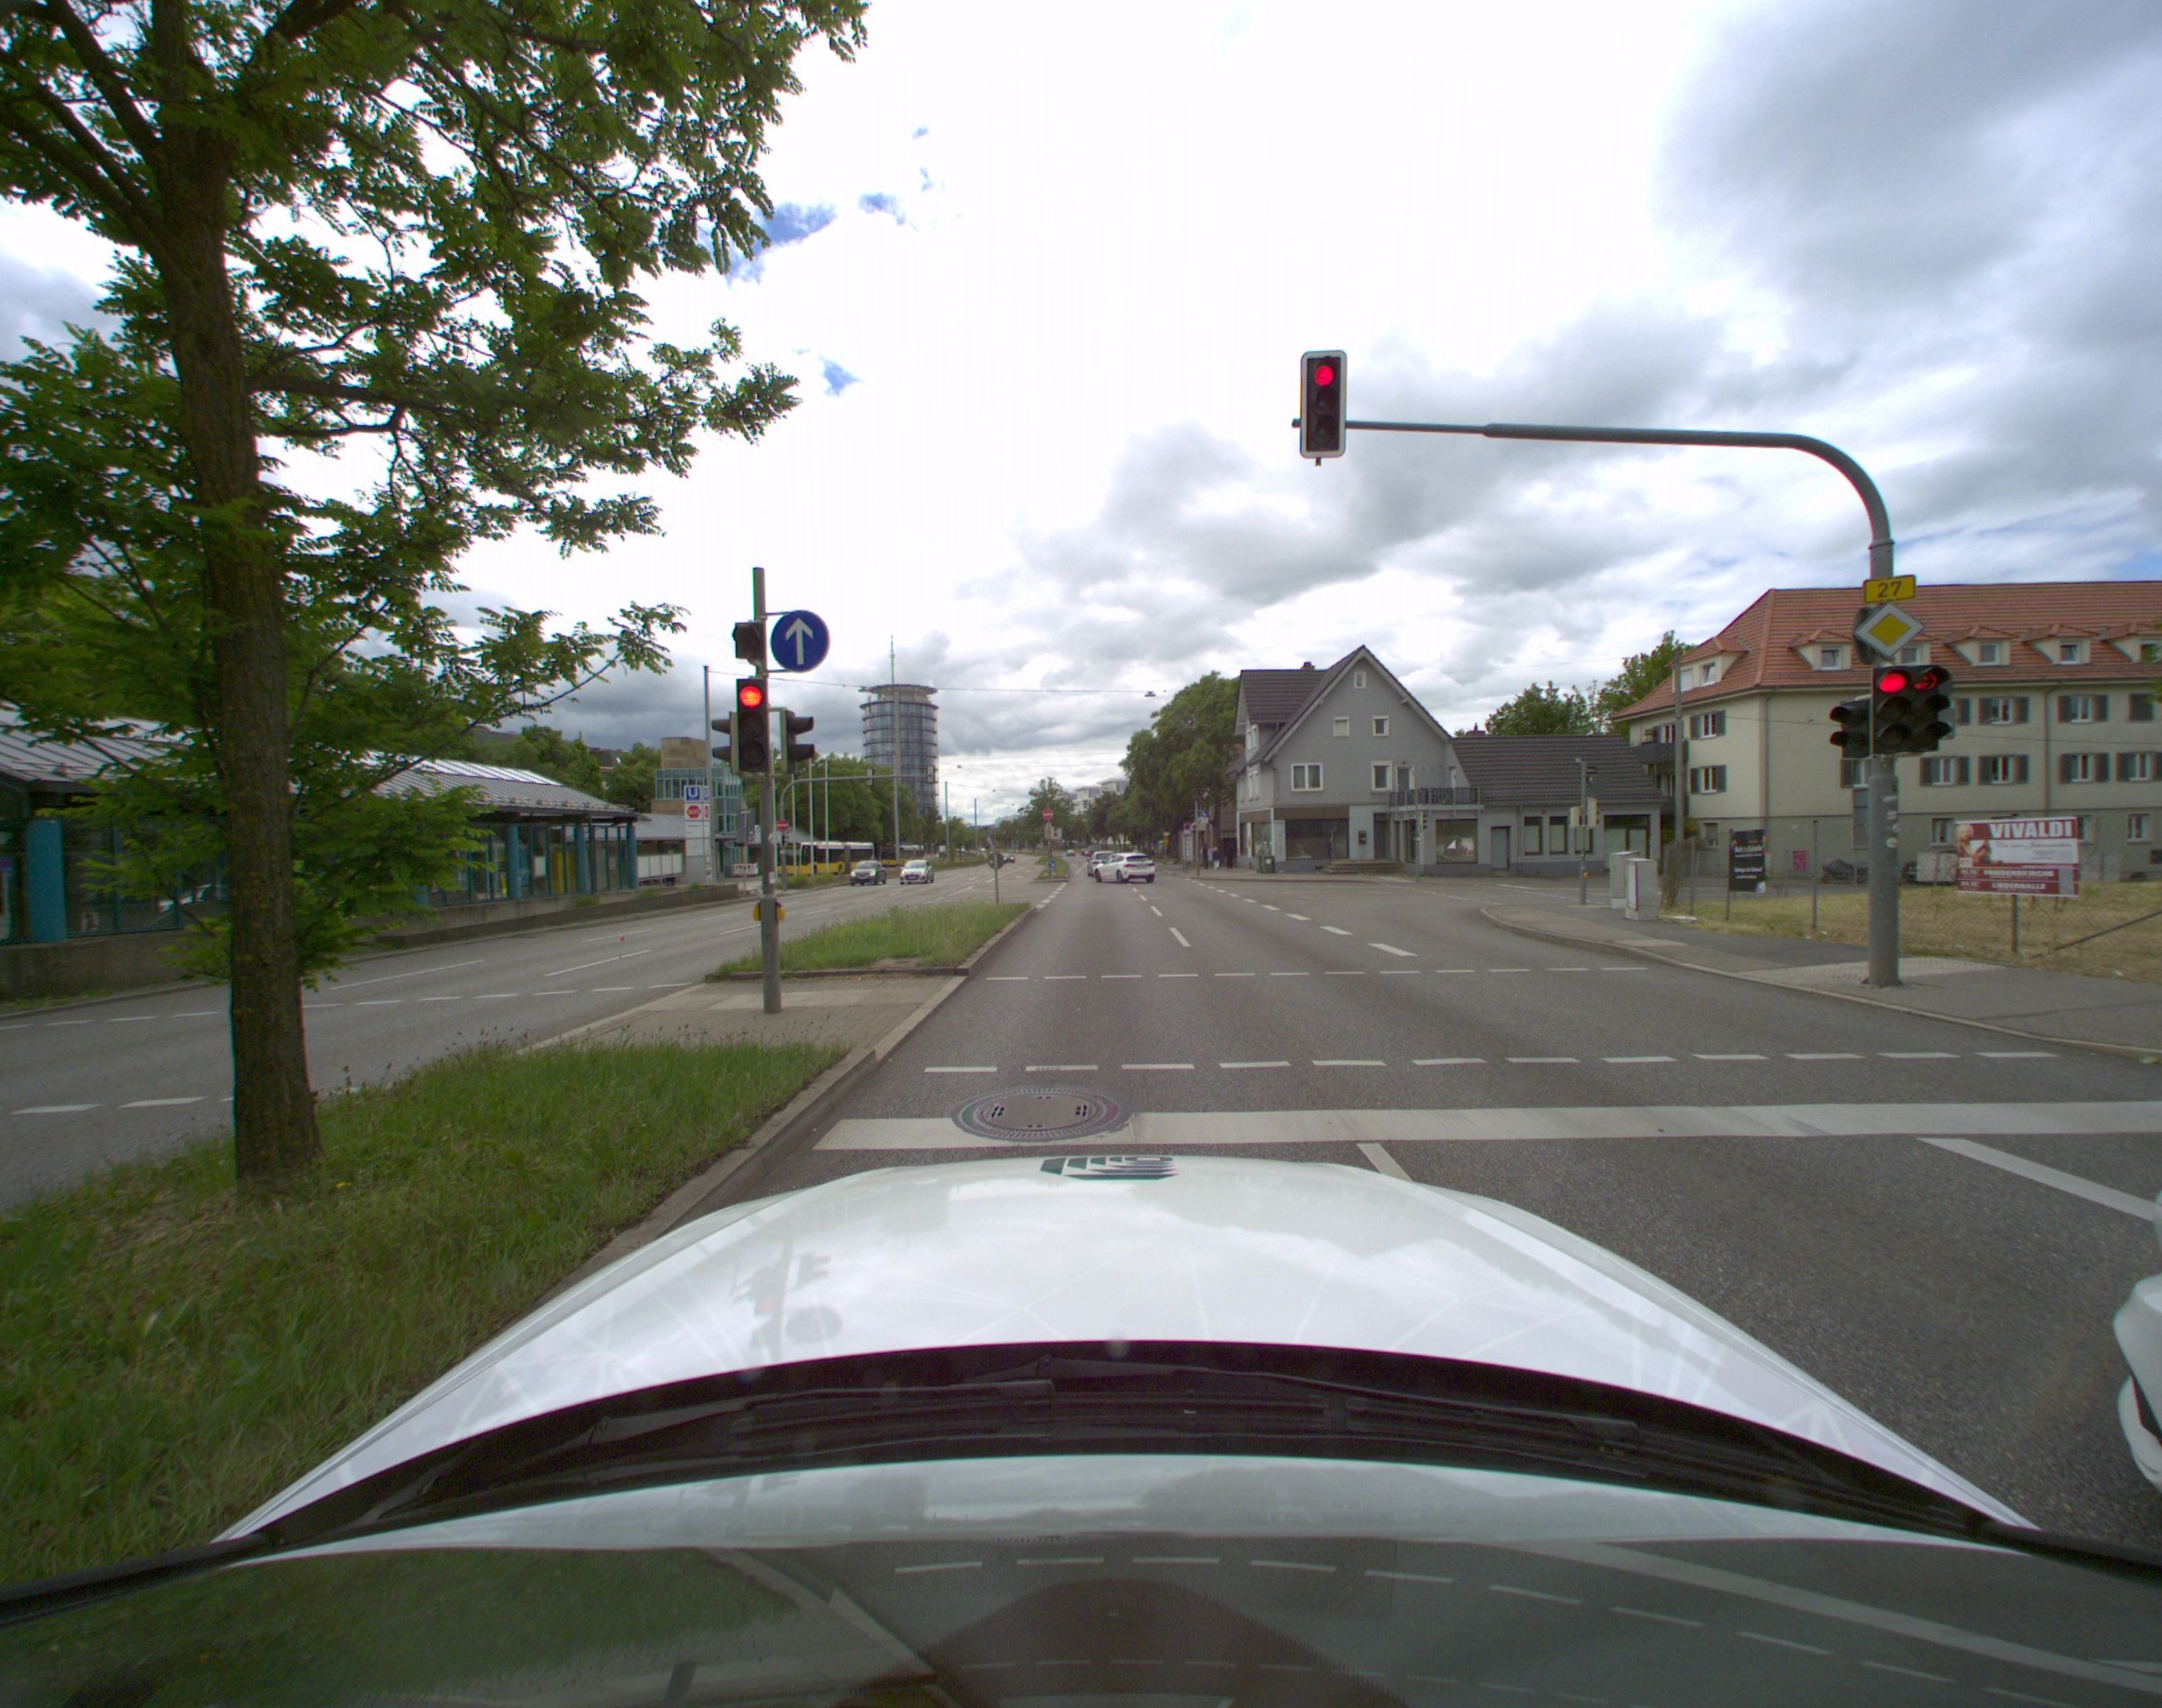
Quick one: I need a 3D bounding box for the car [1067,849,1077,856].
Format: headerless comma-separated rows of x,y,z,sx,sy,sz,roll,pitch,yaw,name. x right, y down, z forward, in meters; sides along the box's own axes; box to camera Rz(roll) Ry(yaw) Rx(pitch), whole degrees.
-1.912,-0.353,173.480,1.963,1.420,4.017,-2,0,-3,car

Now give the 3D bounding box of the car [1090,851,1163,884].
2.201,0.630,40.822,2.002,1.477,4.224,-1,1,-23,car

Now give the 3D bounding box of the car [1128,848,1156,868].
5.024,0.342,67.706,1.884,1.494,4.096,-2,-1,-1,car

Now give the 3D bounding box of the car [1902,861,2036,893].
39.814,1.021,36.587,3.972,1.377,1.871,0,0,2,car

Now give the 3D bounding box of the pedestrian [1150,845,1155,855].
11.409,-0.613,129.772,0.649,1.570,0.669,-2,0,-6,pedestrian

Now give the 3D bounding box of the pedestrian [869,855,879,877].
-18.280,1.070,71.937,0.658,1.897,0.686,-2,0,3,pedestrian

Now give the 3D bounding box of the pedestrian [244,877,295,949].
-20.793,1.489,20.871,0.528,1.762,0.754,-2,0,-7,pedestrian

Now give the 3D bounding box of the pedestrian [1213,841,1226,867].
9.800,0.013,57.605,0.699,1.780,0.874,-2,0,17,pedestrian

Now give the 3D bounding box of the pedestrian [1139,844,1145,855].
10.890,-0.836,144.967,0.967,2.014,0.981,0,-1,1,pedestrian

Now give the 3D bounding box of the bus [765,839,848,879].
-24.322,0.406,72.875,2.975,3.250,10.186,-2,0,6,bus

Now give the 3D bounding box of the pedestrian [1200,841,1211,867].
8.474,0.006,55.514,0.701,1.780,0.872,-2,0,7,pedestrian

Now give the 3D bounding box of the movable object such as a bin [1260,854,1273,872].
10.033,0.477,43.965,0.527,0.979,0.737,-2,0,2,movable object such as a bin

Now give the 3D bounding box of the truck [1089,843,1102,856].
2.754,-0.815,156.679,2.246,2.416,4.928,-1,0,-3,truck

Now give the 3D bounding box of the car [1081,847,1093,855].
1.288,-0.555,174.115,2.246,1.647,4.927,-2,0,-3,car

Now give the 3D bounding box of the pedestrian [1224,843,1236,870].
9.964,0.167,54.475,0.701,1.760,1.055,-2,0,9,pedestrian

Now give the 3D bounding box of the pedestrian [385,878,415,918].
-27.098,1.733,32.429,0.633,1.571,0.661,0,-1,-3,pedestrian

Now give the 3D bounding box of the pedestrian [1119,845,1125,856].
8.713,-0.783,173.185,0.930,2.308,1.008,0,-1,-8,pedestrian

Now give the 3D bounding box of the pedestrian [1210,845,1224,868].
9.139,0.188,54.710,0.699,1.507,0.874,-2,0,19,pedestrian

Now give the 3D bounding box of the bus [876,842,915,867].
-26.095,0.100,115.325,3.135,3.225,10.282,-2,0,0,bus

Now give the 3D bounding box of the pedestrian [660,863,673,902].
-17.268,1.177,33.940,0.420,1.591,0.353,-2,0,-28,pedestrian

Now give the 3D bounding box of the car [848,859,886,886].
-13.491,1.149,51.541,1.681,1.578,3.344,-2,0,-4,car

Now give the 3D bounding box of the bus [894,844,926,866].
-26.037,0.126,124.334,3.134,3.225,7.765,-2,0,0,bus

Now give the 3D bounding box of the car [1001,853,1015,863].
-11.714,0.610,130.834,1.696,1.492,3.562,-2,0,1,car

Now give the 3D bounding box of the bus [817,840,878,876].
-23.351,0.373,81.875,2.975,3.270,7.889,-2,0,6,bus

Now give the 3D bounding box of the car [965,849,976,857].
-27.261,-0.169,201.225,1.958,2.014,4.001,0,-1,2,car

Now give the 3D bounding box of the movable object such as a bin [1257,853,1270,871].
10.039,0.454,44.756,0.527,0.979,0.737,-2,0,2,movable object such as a bin

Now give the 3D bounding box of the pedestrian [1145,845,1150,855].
10.617,-0.603,129.702,0.649,1.570,0.669,-2,0,-6,pedestrian

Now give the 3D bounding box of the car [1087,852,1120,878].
1.355,0.649,51.330,1.818,1.540,4.110,0,0,-2,car

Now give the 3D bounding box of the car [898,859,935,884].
-10.338,1.057,51.330,1.680,1.462,3.552,-2,0,-3,car

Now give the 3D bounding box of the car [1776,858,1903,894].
34.044,0.984,36.625,3.972,1.537,1.871,0,0,2,car

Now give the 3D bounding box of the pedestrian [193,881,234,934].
-27.897,1.708,26.195,0.520,1.655,0.709,-1,0,-5,pedestrian

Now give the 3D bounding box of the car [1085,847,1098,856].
2.096,-0.471,165.293,2.246,1.757,4.928,-2,0,-3,car
